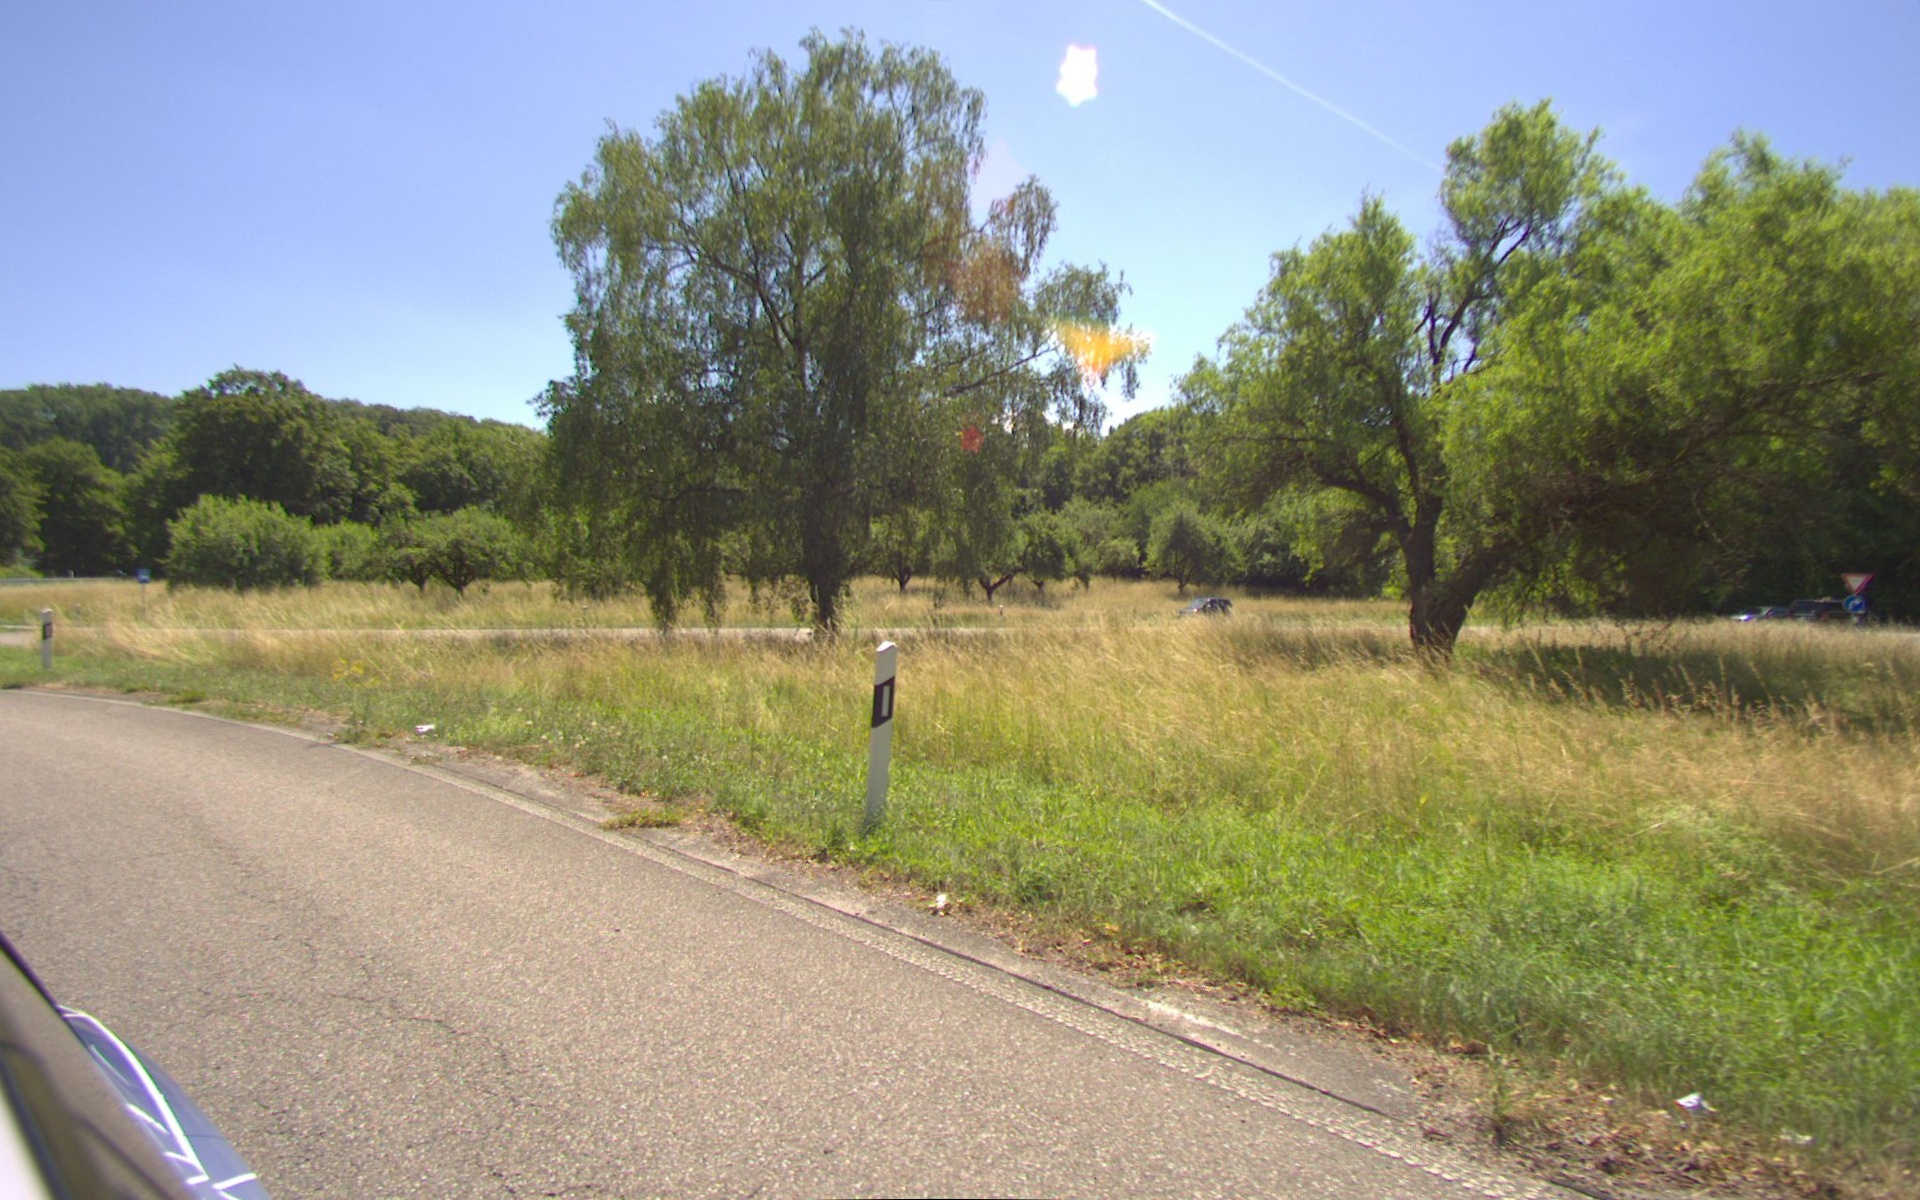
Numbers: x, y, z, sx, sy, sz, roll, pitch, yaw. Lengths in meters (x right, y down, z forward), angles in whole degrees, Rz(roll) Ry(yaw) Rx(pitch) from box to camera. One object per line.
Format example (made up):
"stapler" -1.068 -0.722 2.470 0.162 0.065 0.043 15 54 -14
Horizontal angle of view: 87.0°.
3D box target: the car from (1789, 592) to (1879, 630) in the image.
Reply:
"car" 47.374 0.561 54.862 4.018 1.962 2.007 0 1 -21

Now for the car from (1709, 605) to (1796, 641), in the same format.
"car" 46.712 1.361 59.675 3.933 2.029 2.005 1 1 -14
